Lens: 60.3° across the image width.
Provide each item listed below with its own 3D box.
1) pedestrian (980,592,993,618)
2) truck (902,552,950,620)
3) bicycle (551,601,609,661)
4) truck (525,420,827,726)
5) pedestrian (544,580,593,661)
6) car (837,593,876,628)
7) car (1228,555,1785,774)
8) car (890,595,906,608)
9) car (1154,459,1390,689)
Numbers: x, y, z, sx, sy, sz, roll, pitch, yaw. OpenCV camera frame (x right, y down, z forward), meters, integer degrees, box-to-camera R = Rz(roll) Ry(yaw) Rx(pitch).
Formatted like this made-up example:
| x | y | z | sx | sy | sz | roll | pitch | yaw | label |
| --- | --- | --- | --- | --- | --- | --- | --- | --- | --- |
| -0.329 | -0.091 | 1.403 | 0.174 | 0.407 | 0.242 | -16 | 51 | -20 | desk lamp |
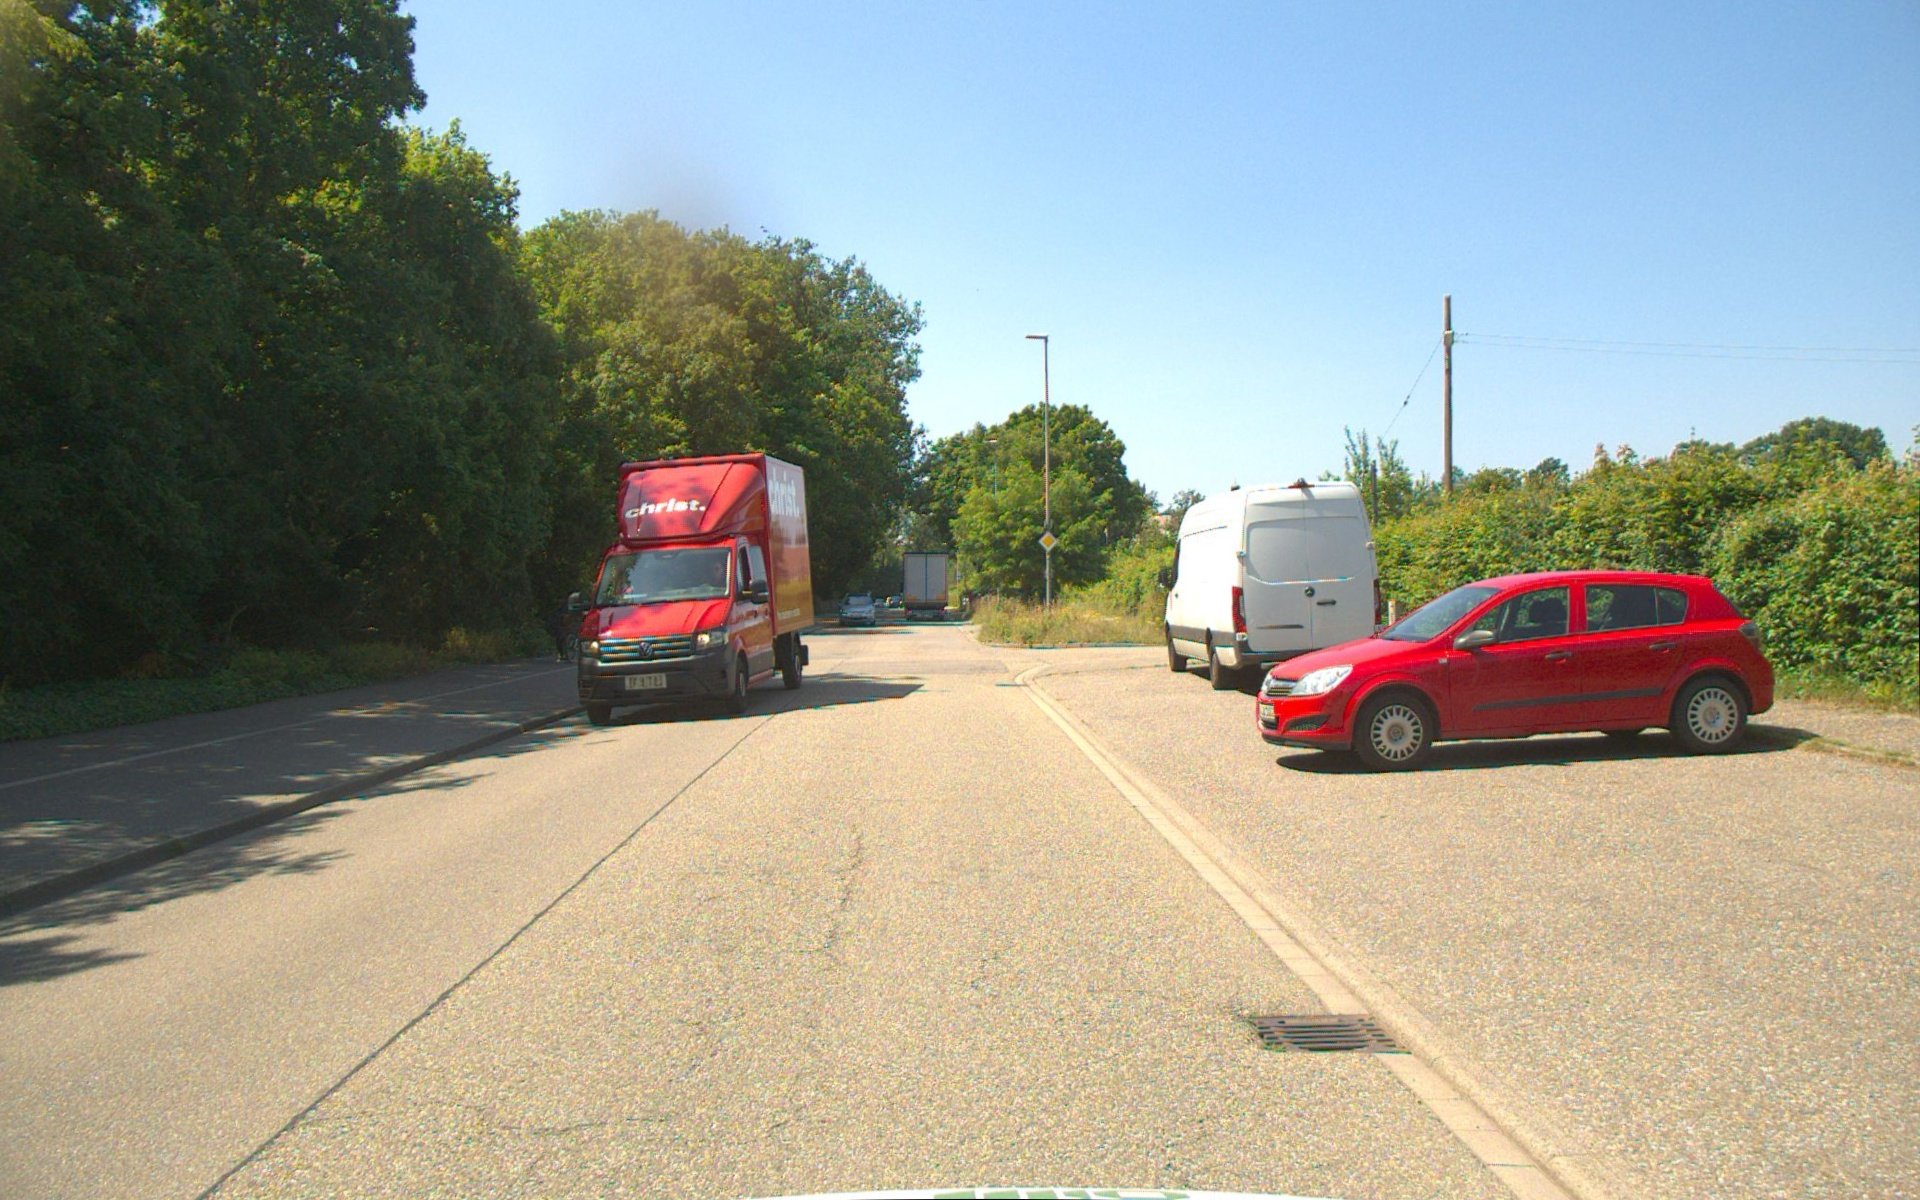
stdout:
| x | y | z | sx | sy | sz | roll | pitch | yaw | label |
| --- | --- | --- | --- | --- | --- | --- | --- | --- | --- |
| 1.788 | 0.319 | 111.713 | 0.846 | 1.706 | 0.885 | -1 | 0 | -3 | pedestrian |
| -1.993 | -0.837 | 99.658 | 2.678 | 3.811 | 13.243 | 0 | 0 | -1 | truck |
| -8.351 | 0.668 | 36.419 | 0.510 | 1.258 | 1.963 | 1 | 0 | 10 | bicycle |
| -3.673 | -0.371 | 23.256 | 2.274 | 3.499 | 7.165 | -4 | 1 | 5 | truck |
| -8.645 | 0.445 | 36.528 | 0.791 | 1.748 | 0.777 | 0 | 0 | 14 | pedestrian |
| -5.043 | 0.501 | 81.118 | 1.755 | 1.600 | 4.270 | -1 | 1 | -2 | car |
| 4.437 | 0.480 | 13.809 | 3.975 | 1.459 | 1.834 | -3 | 1 | -5 | car |
| -8.477 | 0.225 | 226.521 | 1.953 | 1.713 | 4.261 | -1 | 0 | -1 | car |
| 4.328 | -0.376 | 24.291 | 1.914 | 2.781 | 7.166 | -3 | 1 | -1 | car |
